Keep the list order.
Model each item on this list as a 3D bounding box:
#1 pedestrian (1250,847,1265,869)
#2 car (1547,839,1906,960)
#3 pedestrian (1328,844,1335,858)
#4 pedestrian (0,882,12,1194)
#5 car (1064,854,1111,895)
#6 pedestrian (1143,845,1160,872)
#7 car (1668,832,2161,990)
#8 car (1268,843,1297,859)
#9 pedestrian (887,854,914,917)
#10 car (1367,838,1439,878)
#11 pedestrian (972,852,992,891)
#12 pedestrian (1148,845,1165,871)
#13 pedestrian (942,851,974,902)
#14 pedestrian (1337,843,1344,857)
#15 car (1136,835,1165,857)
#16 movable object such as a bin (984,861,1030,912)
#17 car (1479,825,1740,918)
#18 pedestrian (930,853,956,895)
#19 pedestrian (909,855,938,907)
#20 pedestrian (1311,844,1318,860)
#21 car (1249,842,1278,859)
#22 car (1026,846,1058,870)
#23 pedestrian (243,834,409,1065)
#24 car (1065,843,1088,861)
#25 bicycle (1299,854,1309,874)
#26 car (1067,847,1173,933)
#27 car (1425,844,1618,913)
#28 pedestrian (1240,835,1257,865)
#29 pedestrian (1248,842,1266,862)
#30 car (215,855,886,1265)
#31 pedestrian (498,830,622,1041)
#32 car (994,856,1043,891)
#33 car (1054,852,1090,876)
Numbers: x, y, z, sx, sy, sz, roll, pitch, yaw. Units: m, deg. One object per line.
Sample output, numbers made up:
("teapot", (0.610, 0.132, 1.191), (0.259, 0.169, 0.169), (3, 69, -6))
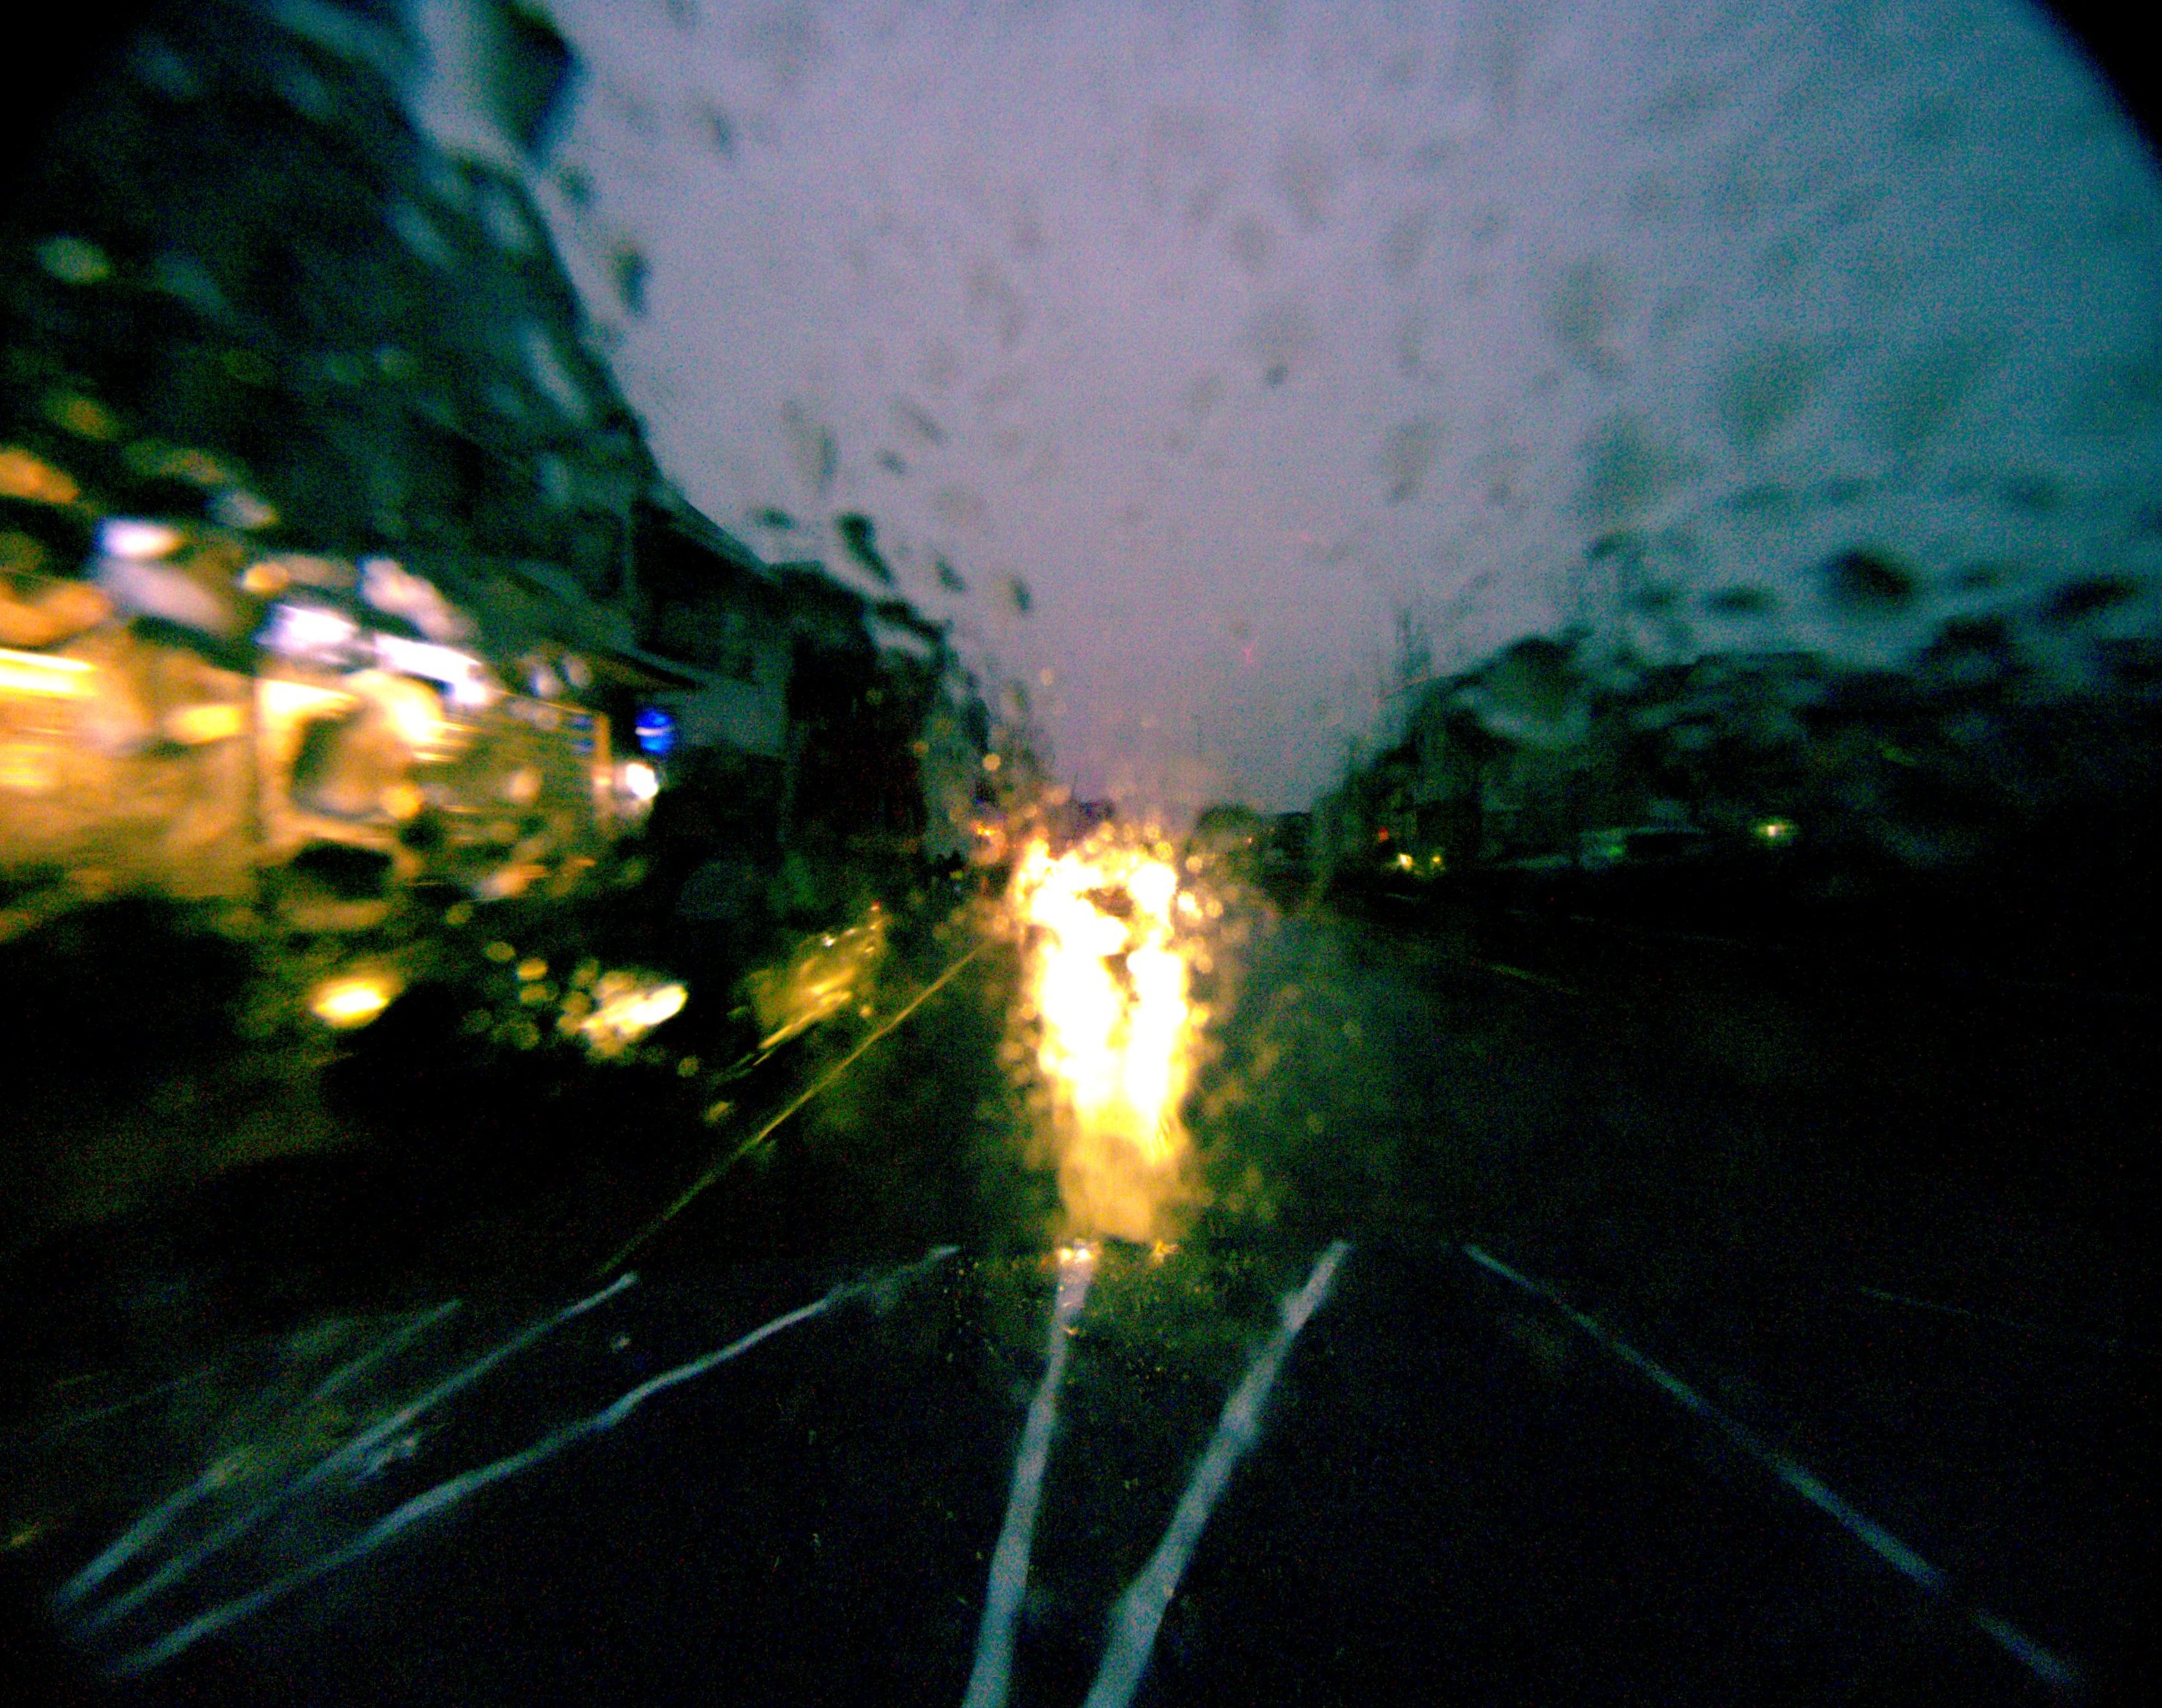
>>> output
("pedestrian", (10.224, 0.221, 43.938), (0.687, 1.264, 0.750), (-3, 1, 4))
("car", (9.781, 0.654, 11.754), (4.102, 1.599, 1.587), (-2, 1, 3))
("pedestrian", (28.380, -0.364, 86.082), (0.582, 1.602, 0.500), (-3, 3, 4))
("pedestrian", (-5.472, 0.889, 3.290), (0.620, 1.507, 0.733), (-2, 0, -13))
("car", (0.347, 0.866, 34.144), (1.762, 1.471, 4.019), (-3, 2, 5))
("pedestrian", (4.891, 0.311, 52.549), (0.789, 1.856, 0.711), (0, 4, 43))
("car", (9.843, 0.596, 9.088), (4.137, 1.490, 1.878), (-3, 3, 2))
("car", (26.081, -0.411, 98.578), (1.936, 1.871, 3.866), (-4, 3, -14))
("pedestrian", (-4.766, 0.824, 20.074), (0.620, 1.617, 0.905), (-2, 0, -13))
("car", (14.693, 0.161, 34.958), (1.758, 1.691, 4.566), (1, 0, 6))
("pedestrian", (-4.367, 0.752, 33.693), (0.530, 1.644, 0.954), (-2, 3, 10))
("pedestrian", (5.321, 0.292, 53.274), (0.789, 1.752, 0.769), (0, 4, 43))
("pedestrian", (-4.172, 0.753, 25.884), (0.713, 1.705, 1.035), (0, 0, 13))
("pedestrian", (29.431, -0.438, 86.142), (0.582, 1.602, 0.500), (-3, 3, 4))
("car", (7.218, -0.853, 78.736), (2.055, 1.976, 4.540), (-2, 3, 17))
("movable object such as a bin", (-2.153, 0.928, 22.265), (1.131, 1.412, 1.417), (2, 0, 2))
("car", (9.952, 0.299, 14.487), (3.804, 1.514, 1.714), (-2, 1, -2))
("pedestrian", (-5.552, 0.784, 30.603), (0.748, 1.669, 1.052), (0, 0, 6))
("pedestrian", (-4.956, 0.835, 23.981), (0.480, 1.621, 1.020), (0, 0, 14))
("pedestrian", (24.734, -0.211, 80.383), (0.582, 1.602, 0.500), (-3, 3, 4))
("car", (23.503, -0.519, 97.856), (1.926, 2.003, 3.966), (-4, 3, -14))
("car", (-3.322, 0.313, 64.614), (1.827, 1.736, 3.993), (-4, 3, -15))
("pedestrian", (-5.935, 0.718, 6.008), (0.501, 1.717, 0.620), (-3, 3, 7))
("car", (-0.443, -0.201, 73.457), (2.172, 1.469, 3.998), (-3, 3, 0))
("bicycle", (12.002, 0.535, 40.867), (0.470, 1.004, 1.741), (-1, 1, 16))
("car", (0.738, 0.693, 16.961), (1.958, 1.576, 4.108), (-2, 1, -2))
("car", (10.000, 0.544, 17.406), (3.453, 1.364, 1.601), (-3, 0, -1))
("pedestrian", (9.865, -0.241, 44.730), (0.750, 1.732, 0.687), (-3, 1, 0))
("pedestrian", (10.607, -0.123, 45.843), (0.990, 1.151, 0.903), (-2, -1, 9))
("car", (-2.837, 0.890, 5.470), (1.740, 1.682, 4.385), (-1, 1, -1))
("pedestrian", (-4.371, 0.648, 6.416), (0.574, 1.690, 0.653), (0, 1, 1))
("car", (-2.822, 0.846, 35.188), (1.732, 1.456, 4.199), (1, 0, 2))
("car", (-0.711, 0.693, 56.286), (2.028, 1.471, 4.552), (-3, 3, -8))
